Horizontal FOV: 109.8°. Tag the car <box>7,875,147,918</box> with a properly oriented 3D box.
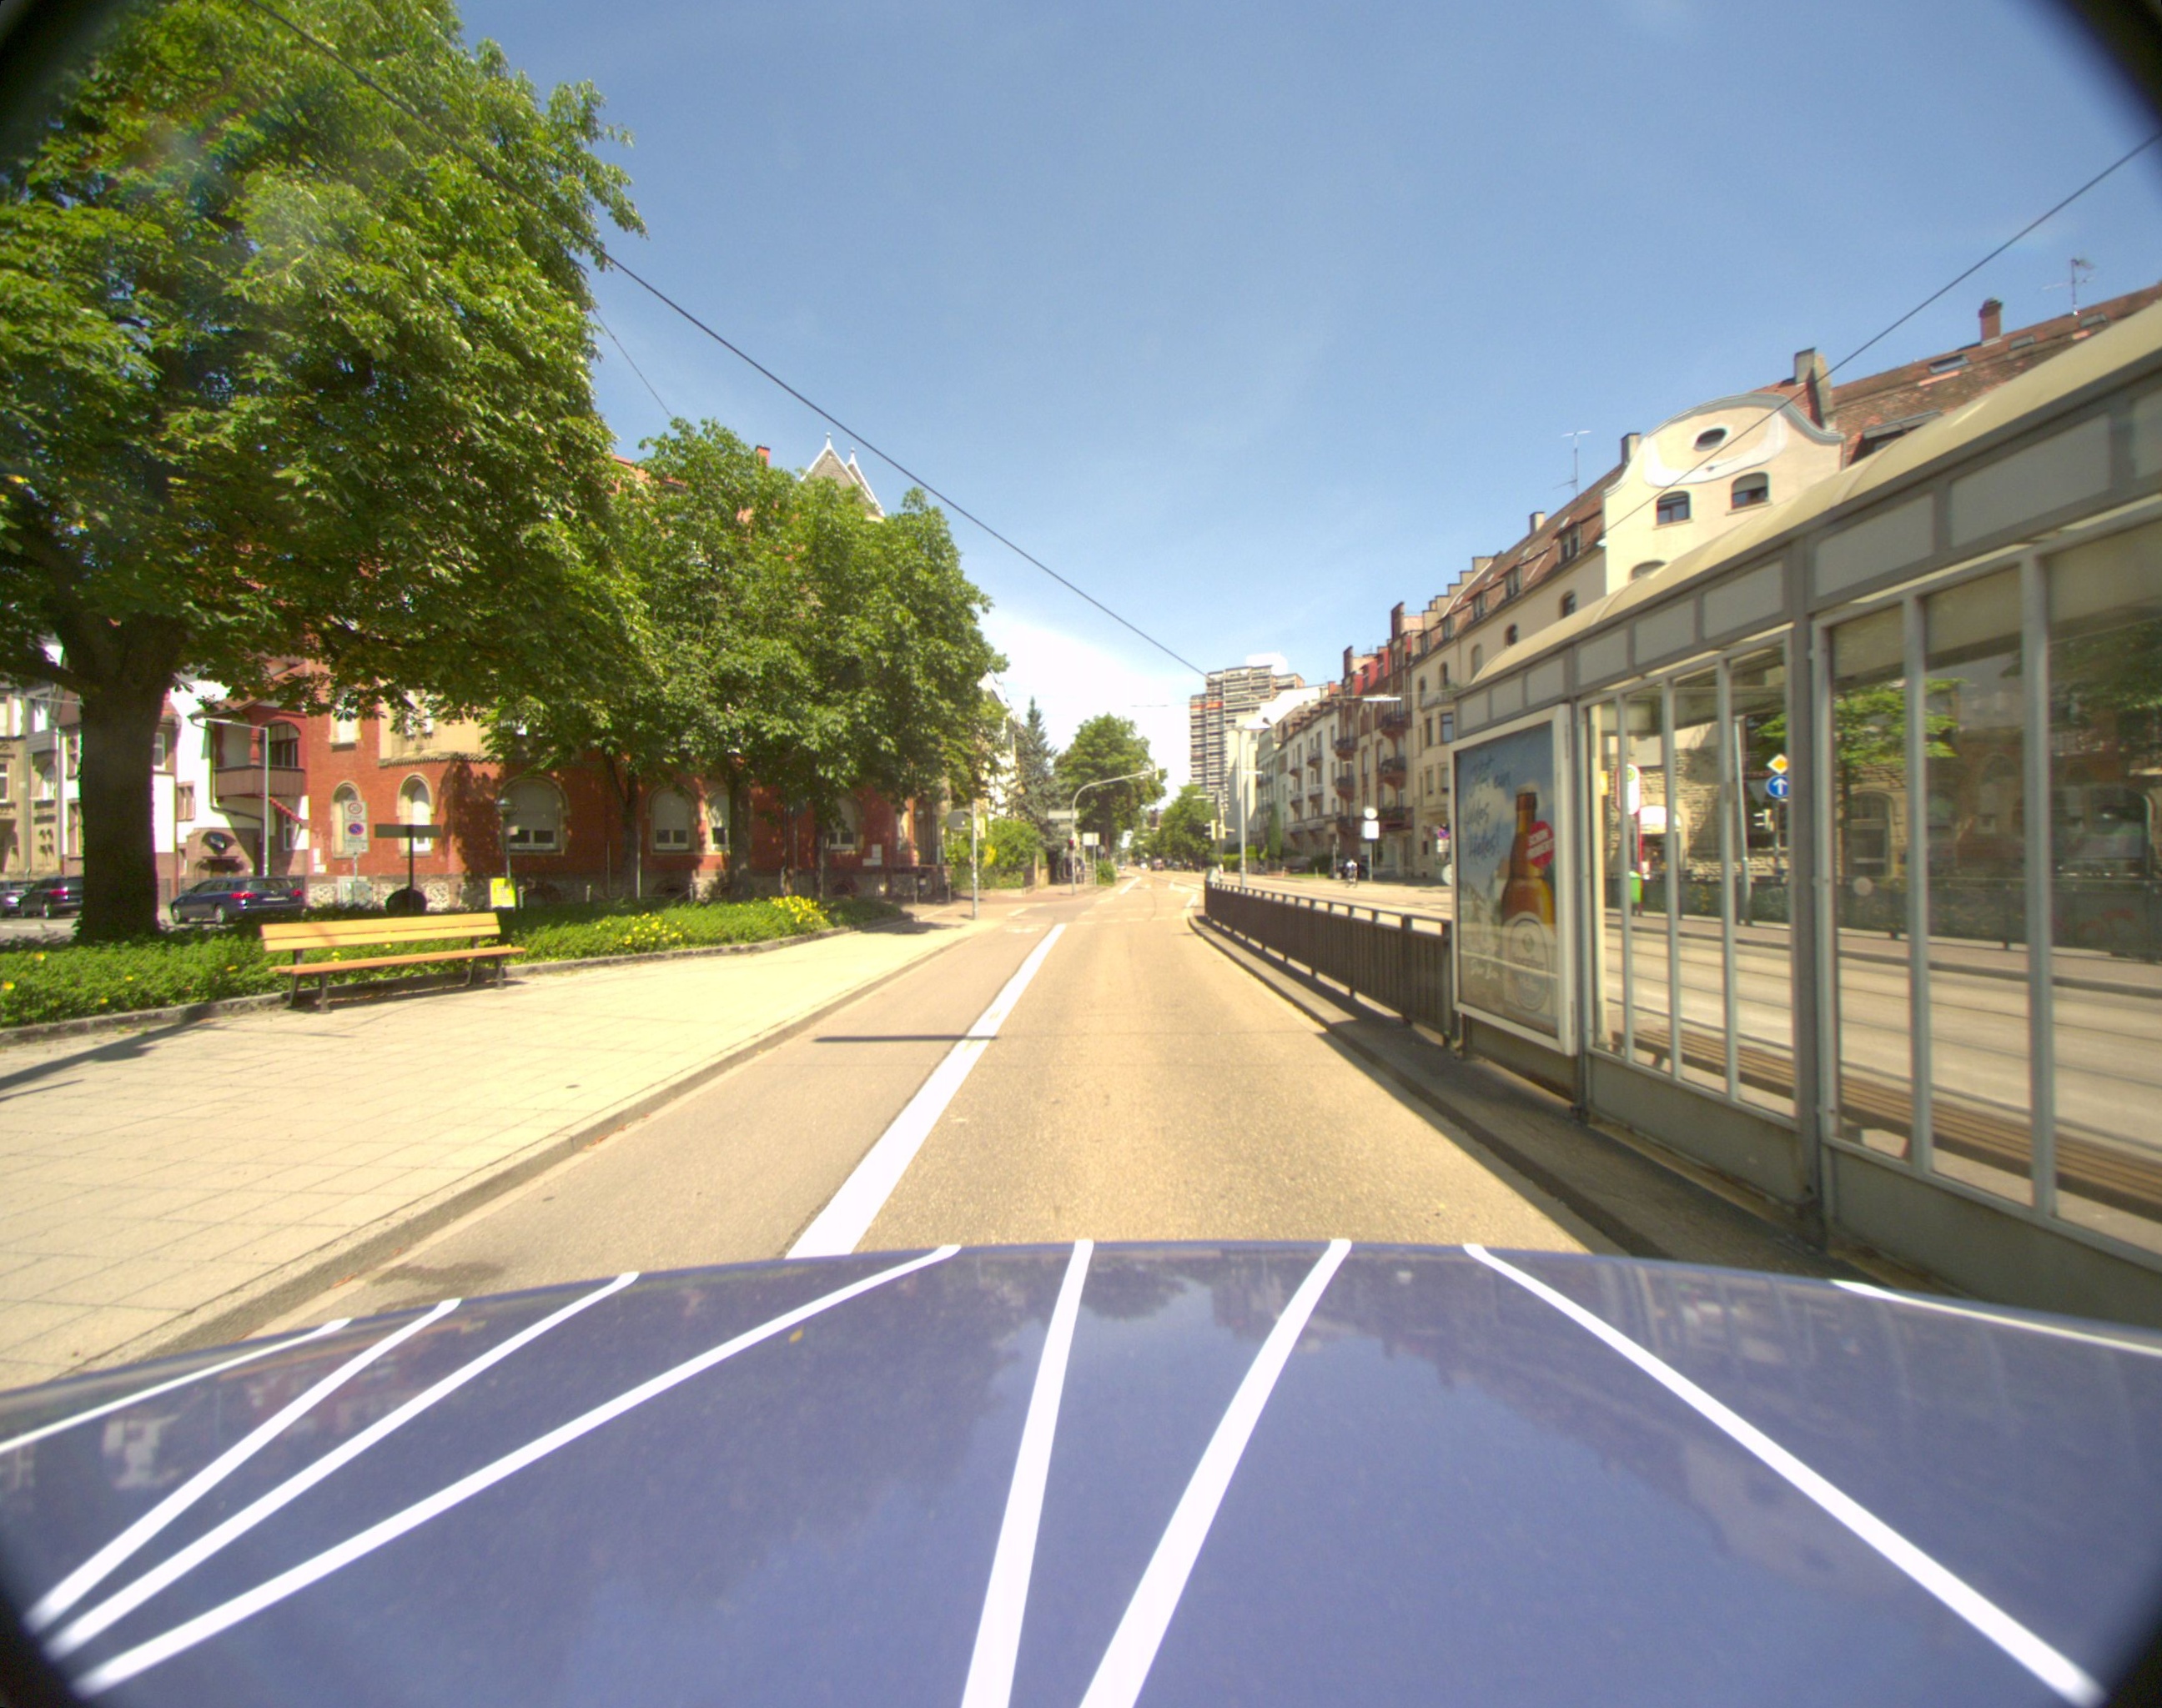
[{"bbox_3d":[-39.913,1.655,30.203,5.477,1.523,1.991,-1,0,22],"label":"car"}]

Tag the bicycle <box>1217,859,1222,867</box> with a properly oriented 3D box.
[{"bbox_3d":[19.151,1.287,105.060,0.340,1.062,1.728,-1,0,1],"label":"bicycle"}]

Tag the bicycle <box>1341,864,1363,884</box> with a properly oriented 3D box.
[{"bbox_3d":[16.413,1.214,46.072,0.629,1.150,1.978,-1,0,1],"label":"bicycle"}]

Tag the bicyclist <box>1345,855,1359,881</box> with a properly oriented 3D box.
[{"bbox_3d":[16.404,0.838,45.941,0.609,1.565,0.585,-1,1,1],"label":"bicyclist"}]

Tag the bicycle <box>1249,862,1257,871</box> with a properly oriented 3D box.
[{"bbox_3d":[18.580,1.365,82.234,0.463,0.943,1.954,-1,0,1],"label":"bicycle"}]

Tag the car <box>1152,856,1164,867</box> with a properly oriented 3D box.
[{"bbox_3d":[13.571,1.330,134.096,1.848,1.926,4.823,1,0,2],"label":"car"}]

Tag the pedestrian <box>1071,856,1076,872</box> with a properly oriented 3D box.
[{"bbox_3d":[-0.807,1.102,82.267,0.547,1.683,0.755,0,1,1],"label":"pedestrian"}]

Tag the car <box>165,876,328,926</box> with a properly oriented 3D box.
[{"bbox_3d":[-27.110,1.491,24.687,4.748,1.433,1.908,-1,0,21],"label":"car"}]

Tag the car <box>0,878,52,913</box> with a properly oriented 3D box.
[{"bbox_3d":[-49.089,1.891,34.306,4.605,1.456,1.908,-1,0,21],"label":"car"}]

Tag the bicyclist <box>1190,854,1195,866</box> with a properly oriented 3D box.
[{"bbox_3d":[15.452,0.866,105.051,0.611,1.653,0.579,0,0,1],"label":"bicyclist"}]

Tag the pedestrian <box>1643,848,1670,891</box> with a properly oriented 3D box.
[{"bbox_3d":[23.495,0.615,31.020,0.545,1.721,0.728,-2,1,-1],"label":"pedestrian"}]

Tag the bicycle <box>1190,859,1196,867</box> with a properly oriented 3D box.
[{"bbox_3d":[15.486,1.251,105.145,0.645,1.068,2.187,0,0,1],"label":"bicycle"}]

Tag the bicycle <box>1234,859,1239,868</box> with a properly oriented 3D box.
[{"bbox_3d":[18.967,1.201,92.721,0.290,1.040,1.900,-1,0,1],"label":"bicycle"}]

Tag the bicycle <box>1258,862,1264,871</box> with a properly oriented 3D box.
[{"bbox_3d":[18.401,1.236,77.771,0.253,0.911,1.615,-1,0,1],"label":"bicycle"}]

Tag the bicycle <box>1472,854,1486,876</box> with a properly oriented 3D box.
[{"bbox_3d":[22.569,0.617,43.132,0.454,1.218,2.083,-1,0,21],"label":"bicycle"}]

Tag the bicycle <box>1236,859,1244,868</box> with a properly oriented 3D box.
[{"bbox_3d":[18.901,1.158,90.214,0.493,1.090,2.047,-1,0,1],"label":"bicycle"}]

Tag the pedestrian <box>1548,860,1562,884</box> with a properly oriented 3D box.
[{"bbox_3d":[23.108,0.871,37.080,0.406,1.142,0.405,-2,1,-2],"label":"pedestrian"}]

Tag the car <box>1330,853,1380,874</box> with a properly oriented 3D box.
[{"bbox_3d":[21.239,0.740,59.001,3.361,1.463,1.530,-2,0,5],"label":"car"}]

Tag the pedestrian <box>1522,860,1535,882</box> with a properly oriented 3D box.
[{"bbox_3d":[22.546,0.848,38.291,0.355,1.083,0.405,-2,1,-2],"label":"pedestrian"}]
